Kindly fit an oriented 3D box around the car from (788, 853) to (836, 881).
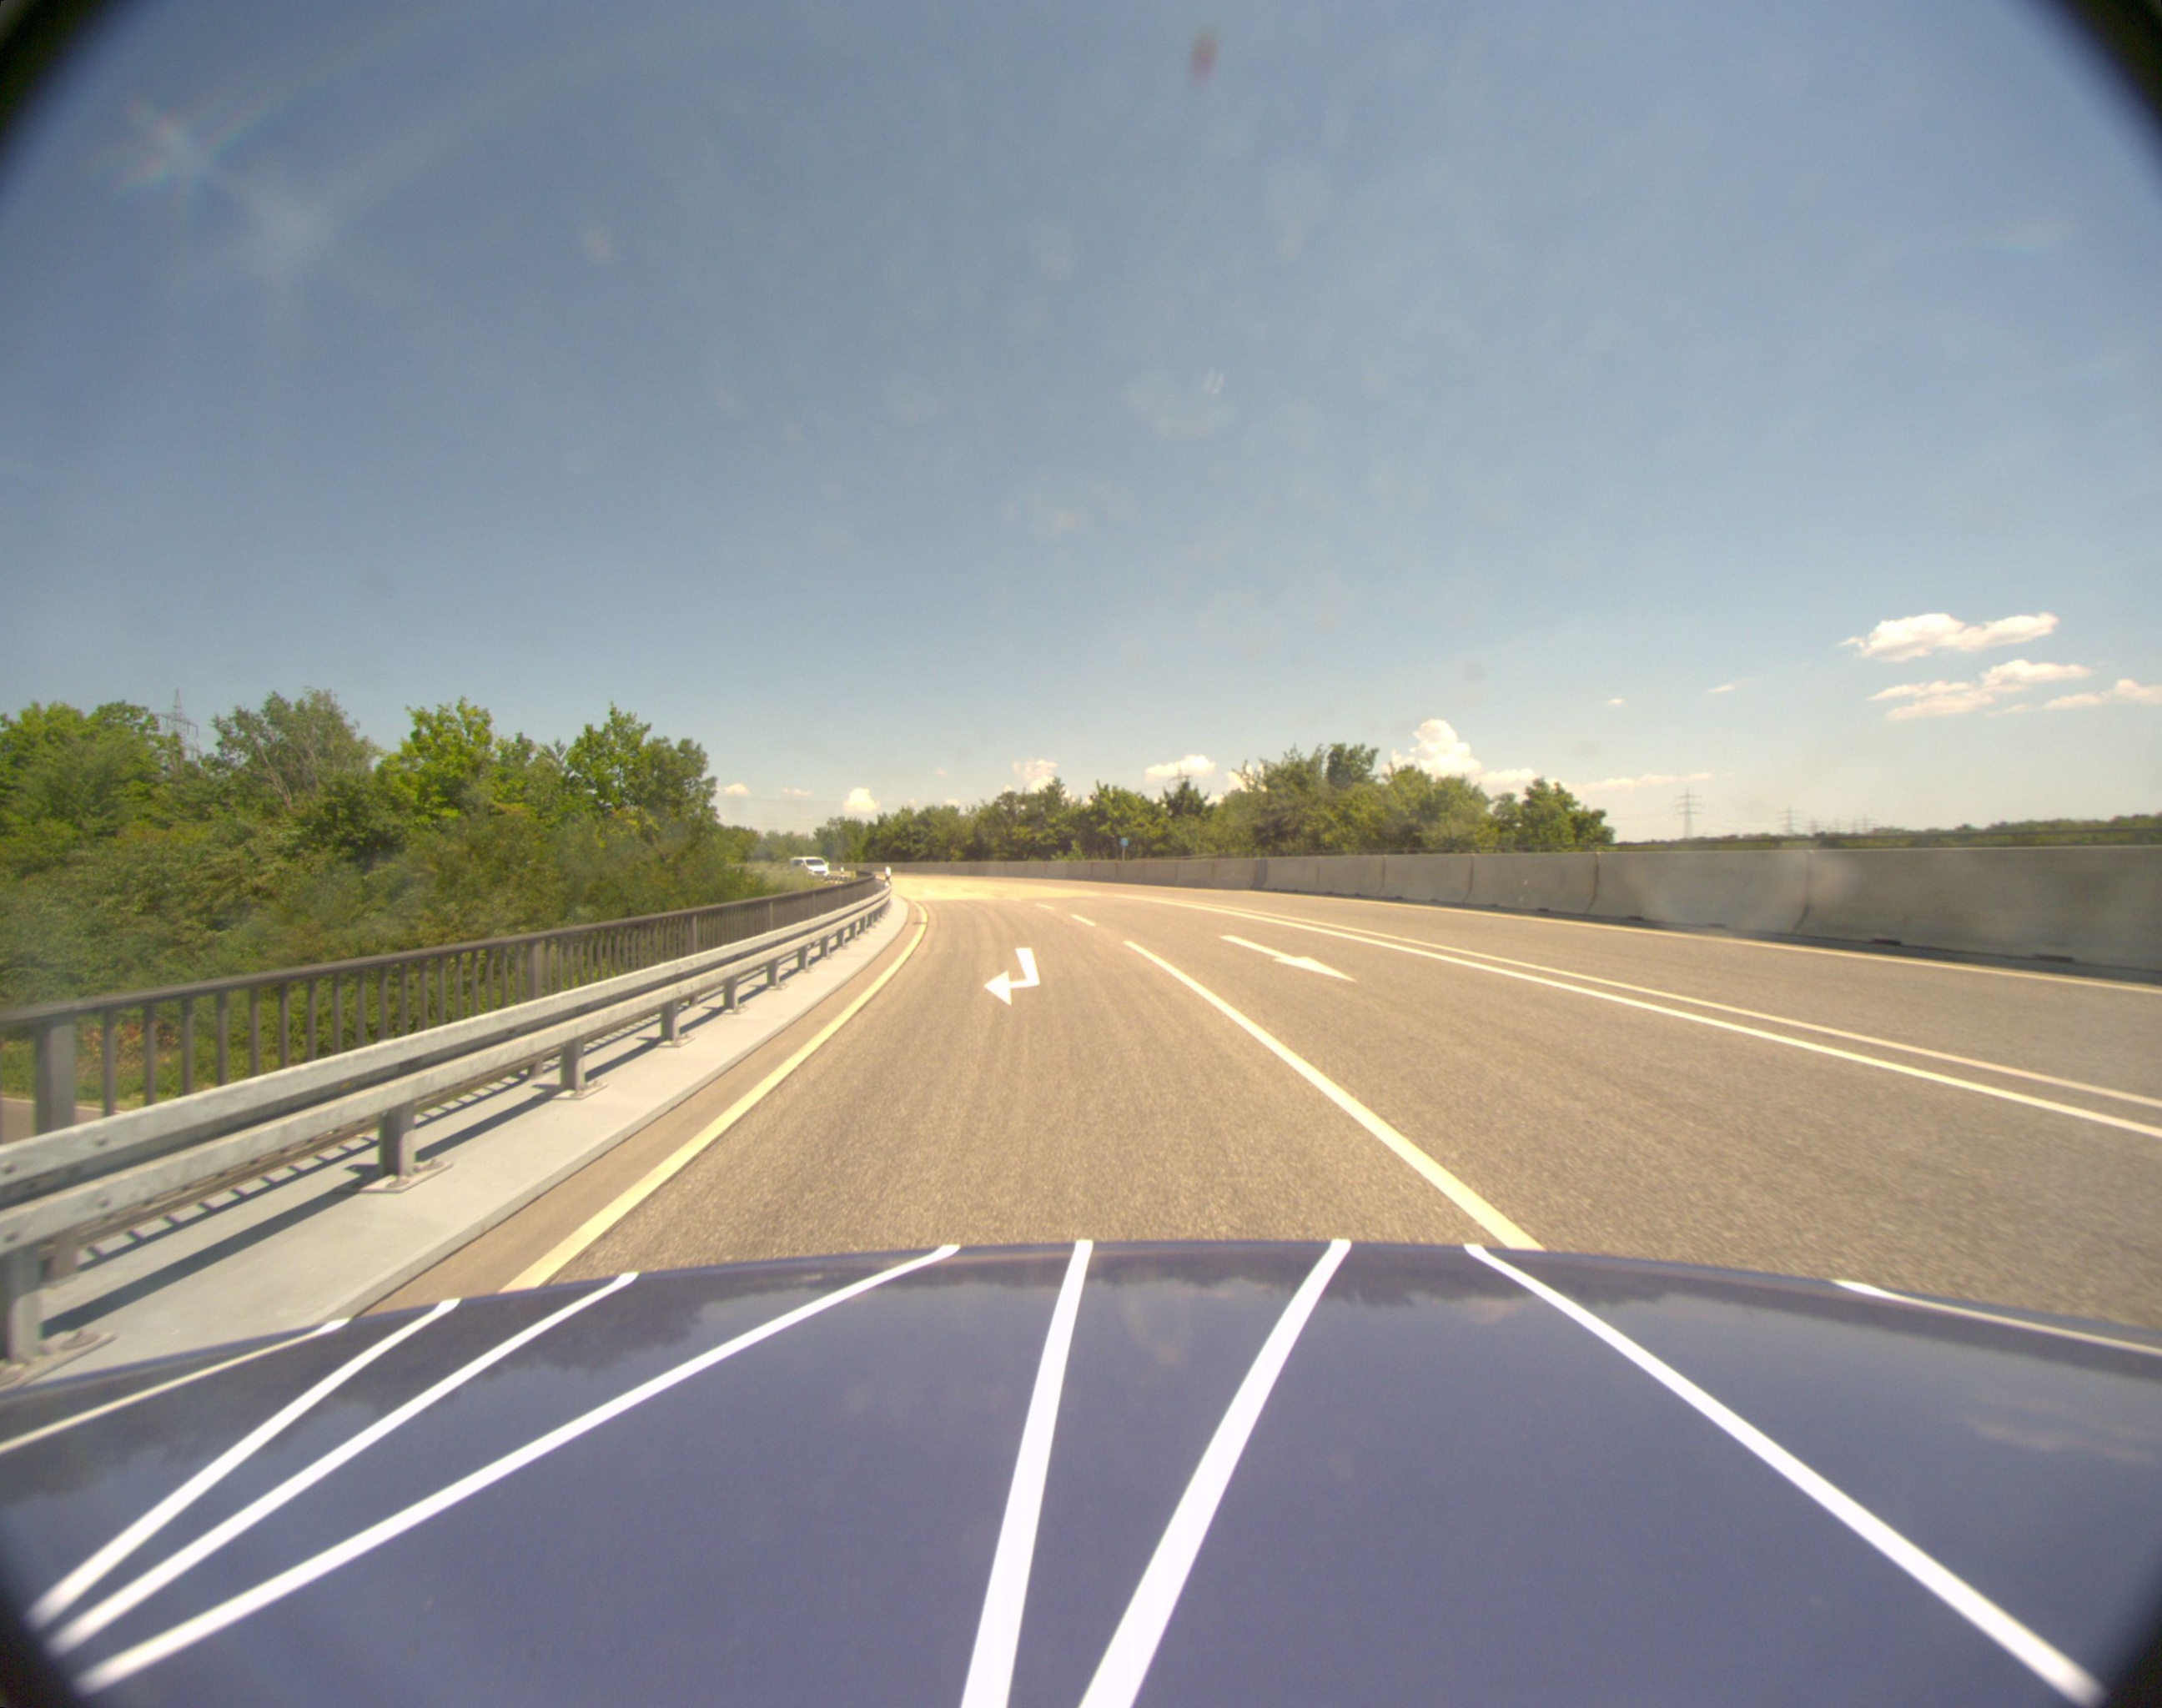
[{"bbox_3d":[-22.709,1.020,63.976,2.036,2.073,5.855,-2,2,-38],"label":"car"}]
